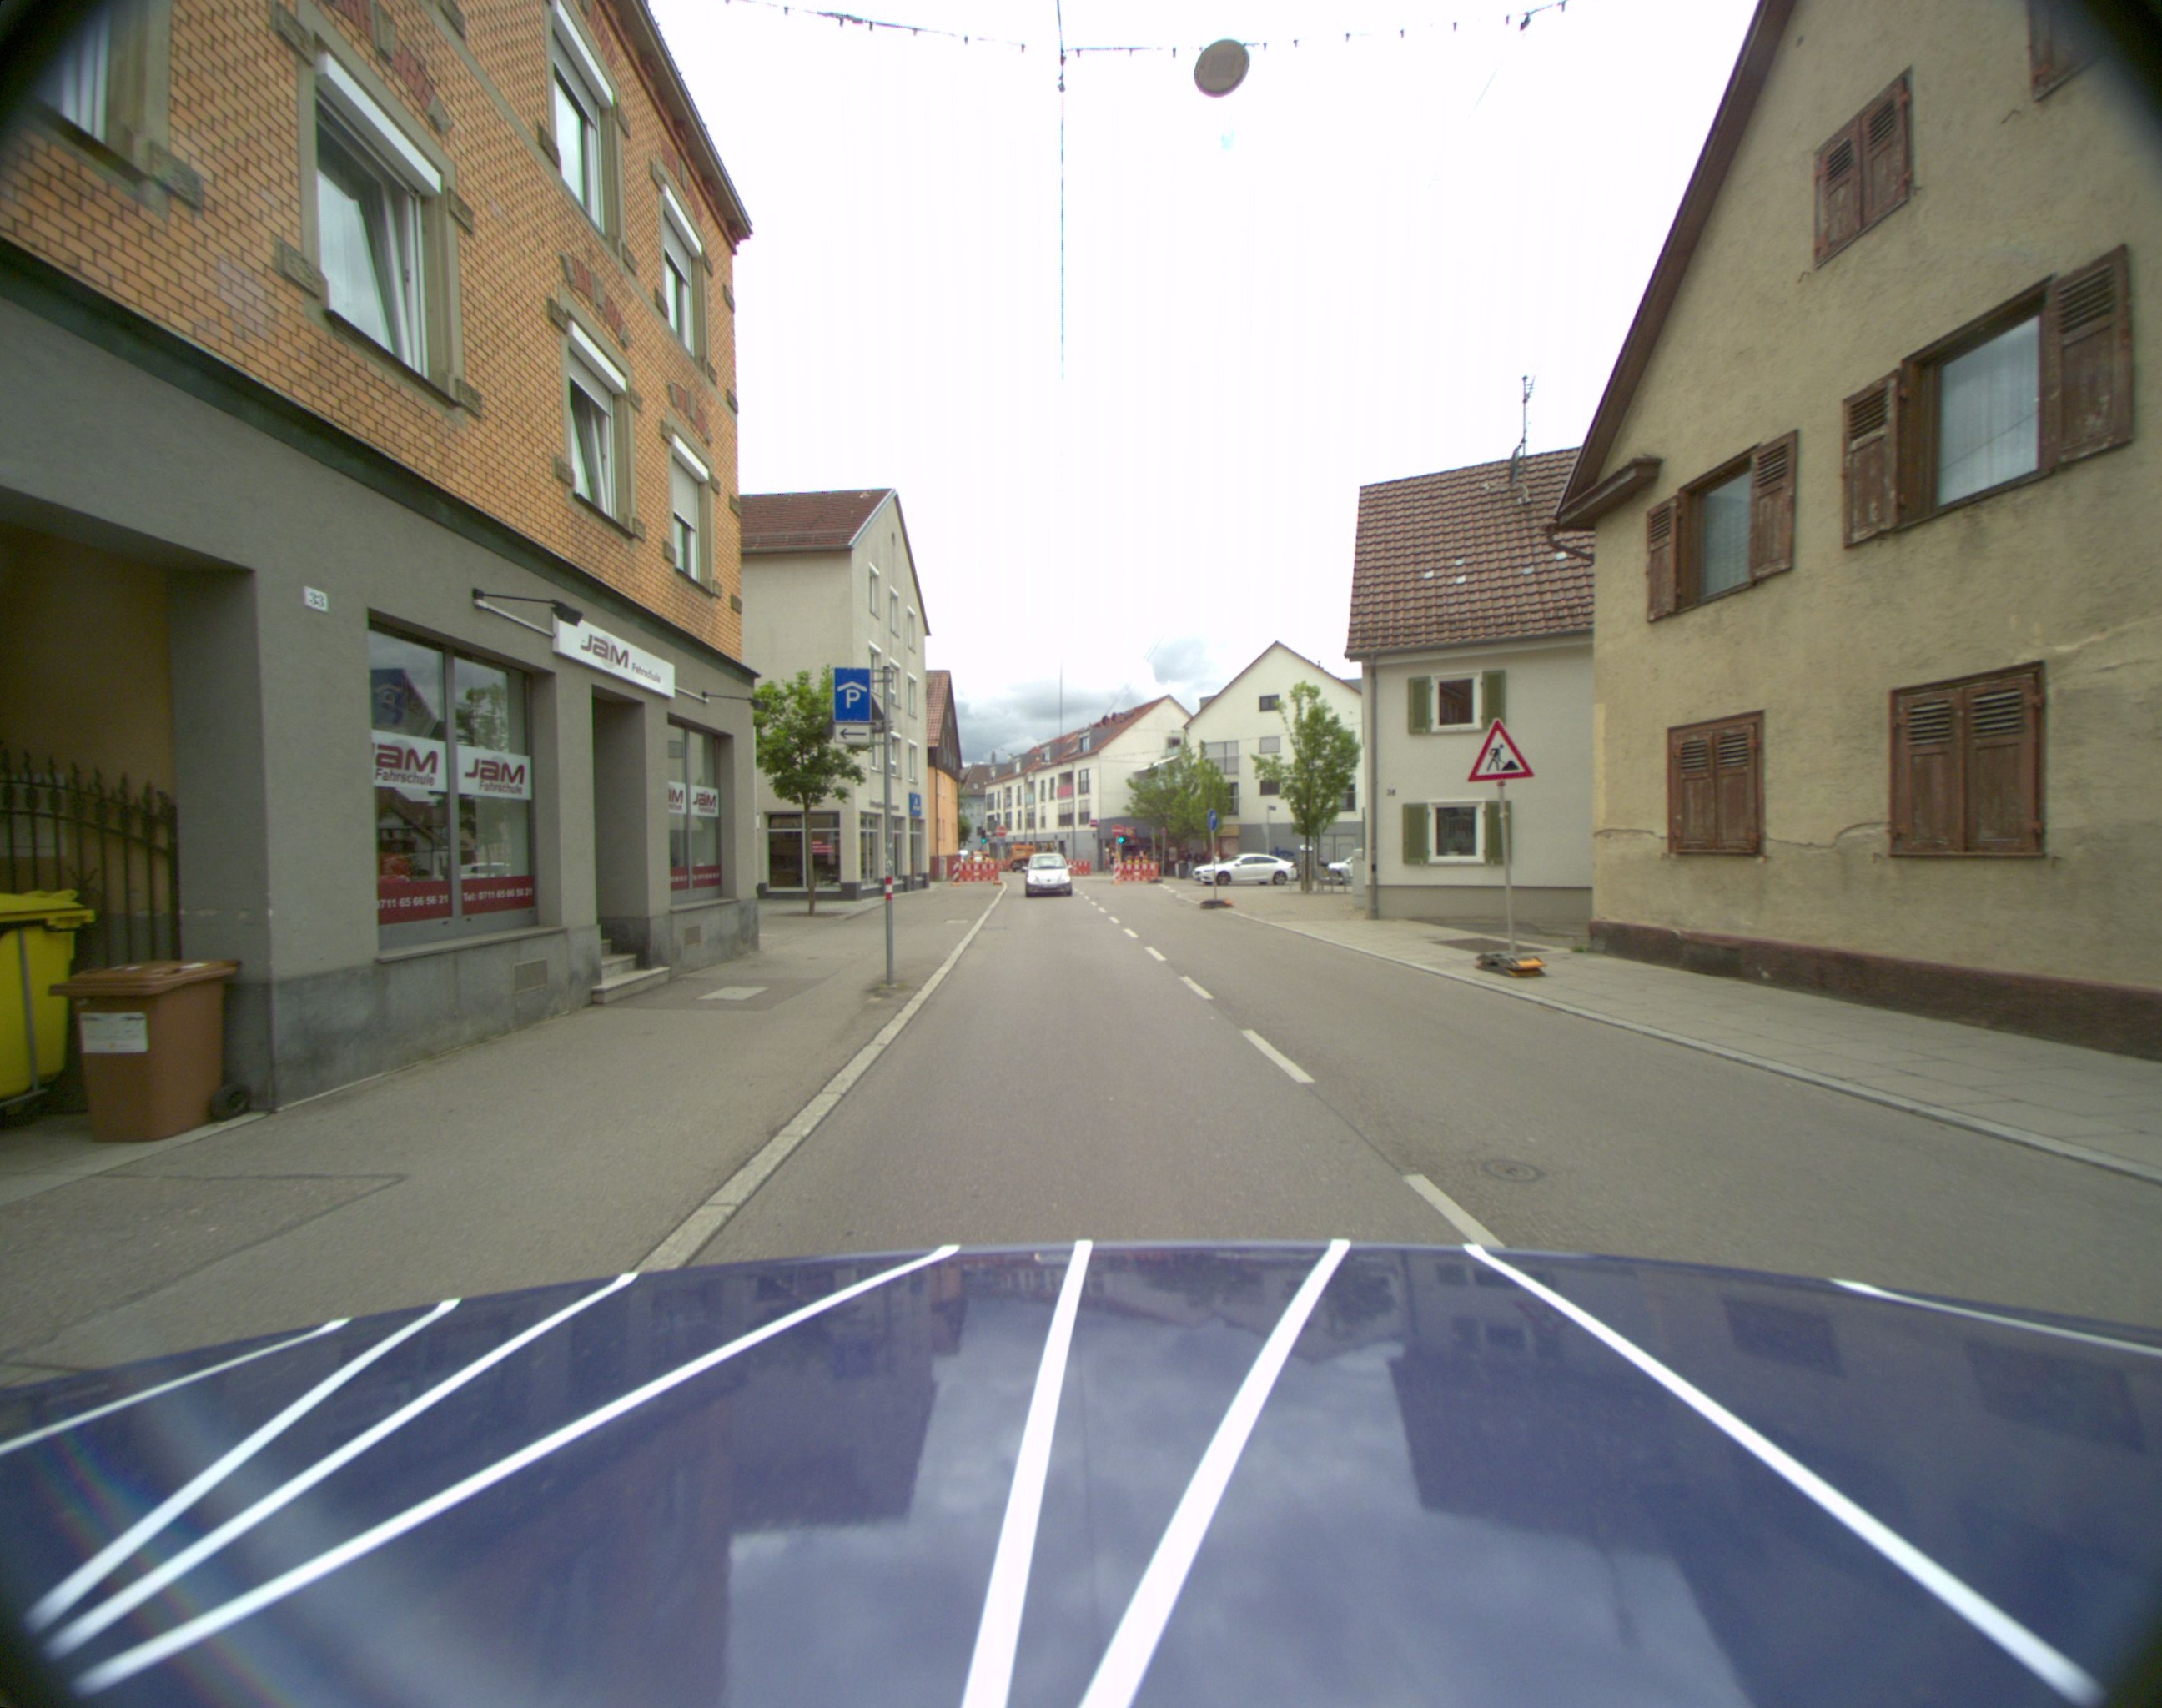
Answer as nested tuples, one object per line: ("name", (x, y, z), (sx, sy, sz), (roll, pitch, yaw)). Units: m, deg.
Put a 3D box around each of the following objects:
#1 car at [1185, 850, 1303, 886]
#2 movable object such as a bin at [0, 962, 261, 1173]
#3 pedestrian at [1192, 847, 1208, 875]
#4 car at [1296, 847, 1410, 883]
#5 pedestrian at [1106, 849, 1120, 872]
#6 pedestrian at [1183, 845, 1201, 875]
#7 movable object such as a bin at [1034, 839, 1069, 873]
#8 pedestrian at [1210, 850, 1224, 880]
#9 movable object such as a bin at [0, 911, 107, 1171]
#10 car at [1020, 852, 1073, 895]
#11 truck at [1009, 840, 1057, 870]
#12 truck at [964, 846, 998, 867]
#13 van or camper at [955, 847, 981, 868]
("car", (7.667, 0.622, 35.814), (4.921, 1.468, 2.246), (-2, 0, -16))
("movable object such as a bin", (-5.114, 1.101, 4.090), (0.581, 0.928, 0.739), (0, 1, 1))
("pedestrian", (7.800, 0.455, 49.672), (0.695, 1.780, 0.716), (-1, 1, -45))
("car", (12.888, 0.525, 36.016), (4.907, 1.548, 2.025), (-1, 0, 23))
("pedestrian", (2.441, 0.472, 57.571), (0.835, 1.702, 0.815), (-1, 0, -13))
("pedestrian", (7.151, 0.400, 49.132), (0.818, 1.914, 0.782), (-1, 1, -41))
("movable object such as a bin", (-2.518, 0.133, 64.285), (1.846, 2.748, 4.498), (-1, 1, -18))
("pedestrian", (7.360, 0.600, 41.100), (0.682, 1.583, 0.879), (0, 1, 6))
("movable object such as a bin", (-6.404, 0.987, 3.754), (1.675, 1.306, 1.159), (0, 1, 1))
("car", (-1.296, 0.727, 29.390), (1.858, 1.547, 4.352), (0, -1, -2))
("truck", (-4.582, 0.121, 71.644), (2.743, 2.708, 6.837), (0, -1, -19))
("truck", (-11.867, 0.341, 89.855), (2.424, 2.451, 6.296), (0, -1, -23))
("van or camper", (-14.695, 0.444, 98.496), (2.328, 2.591, 6.198), (0, -1, -18))
